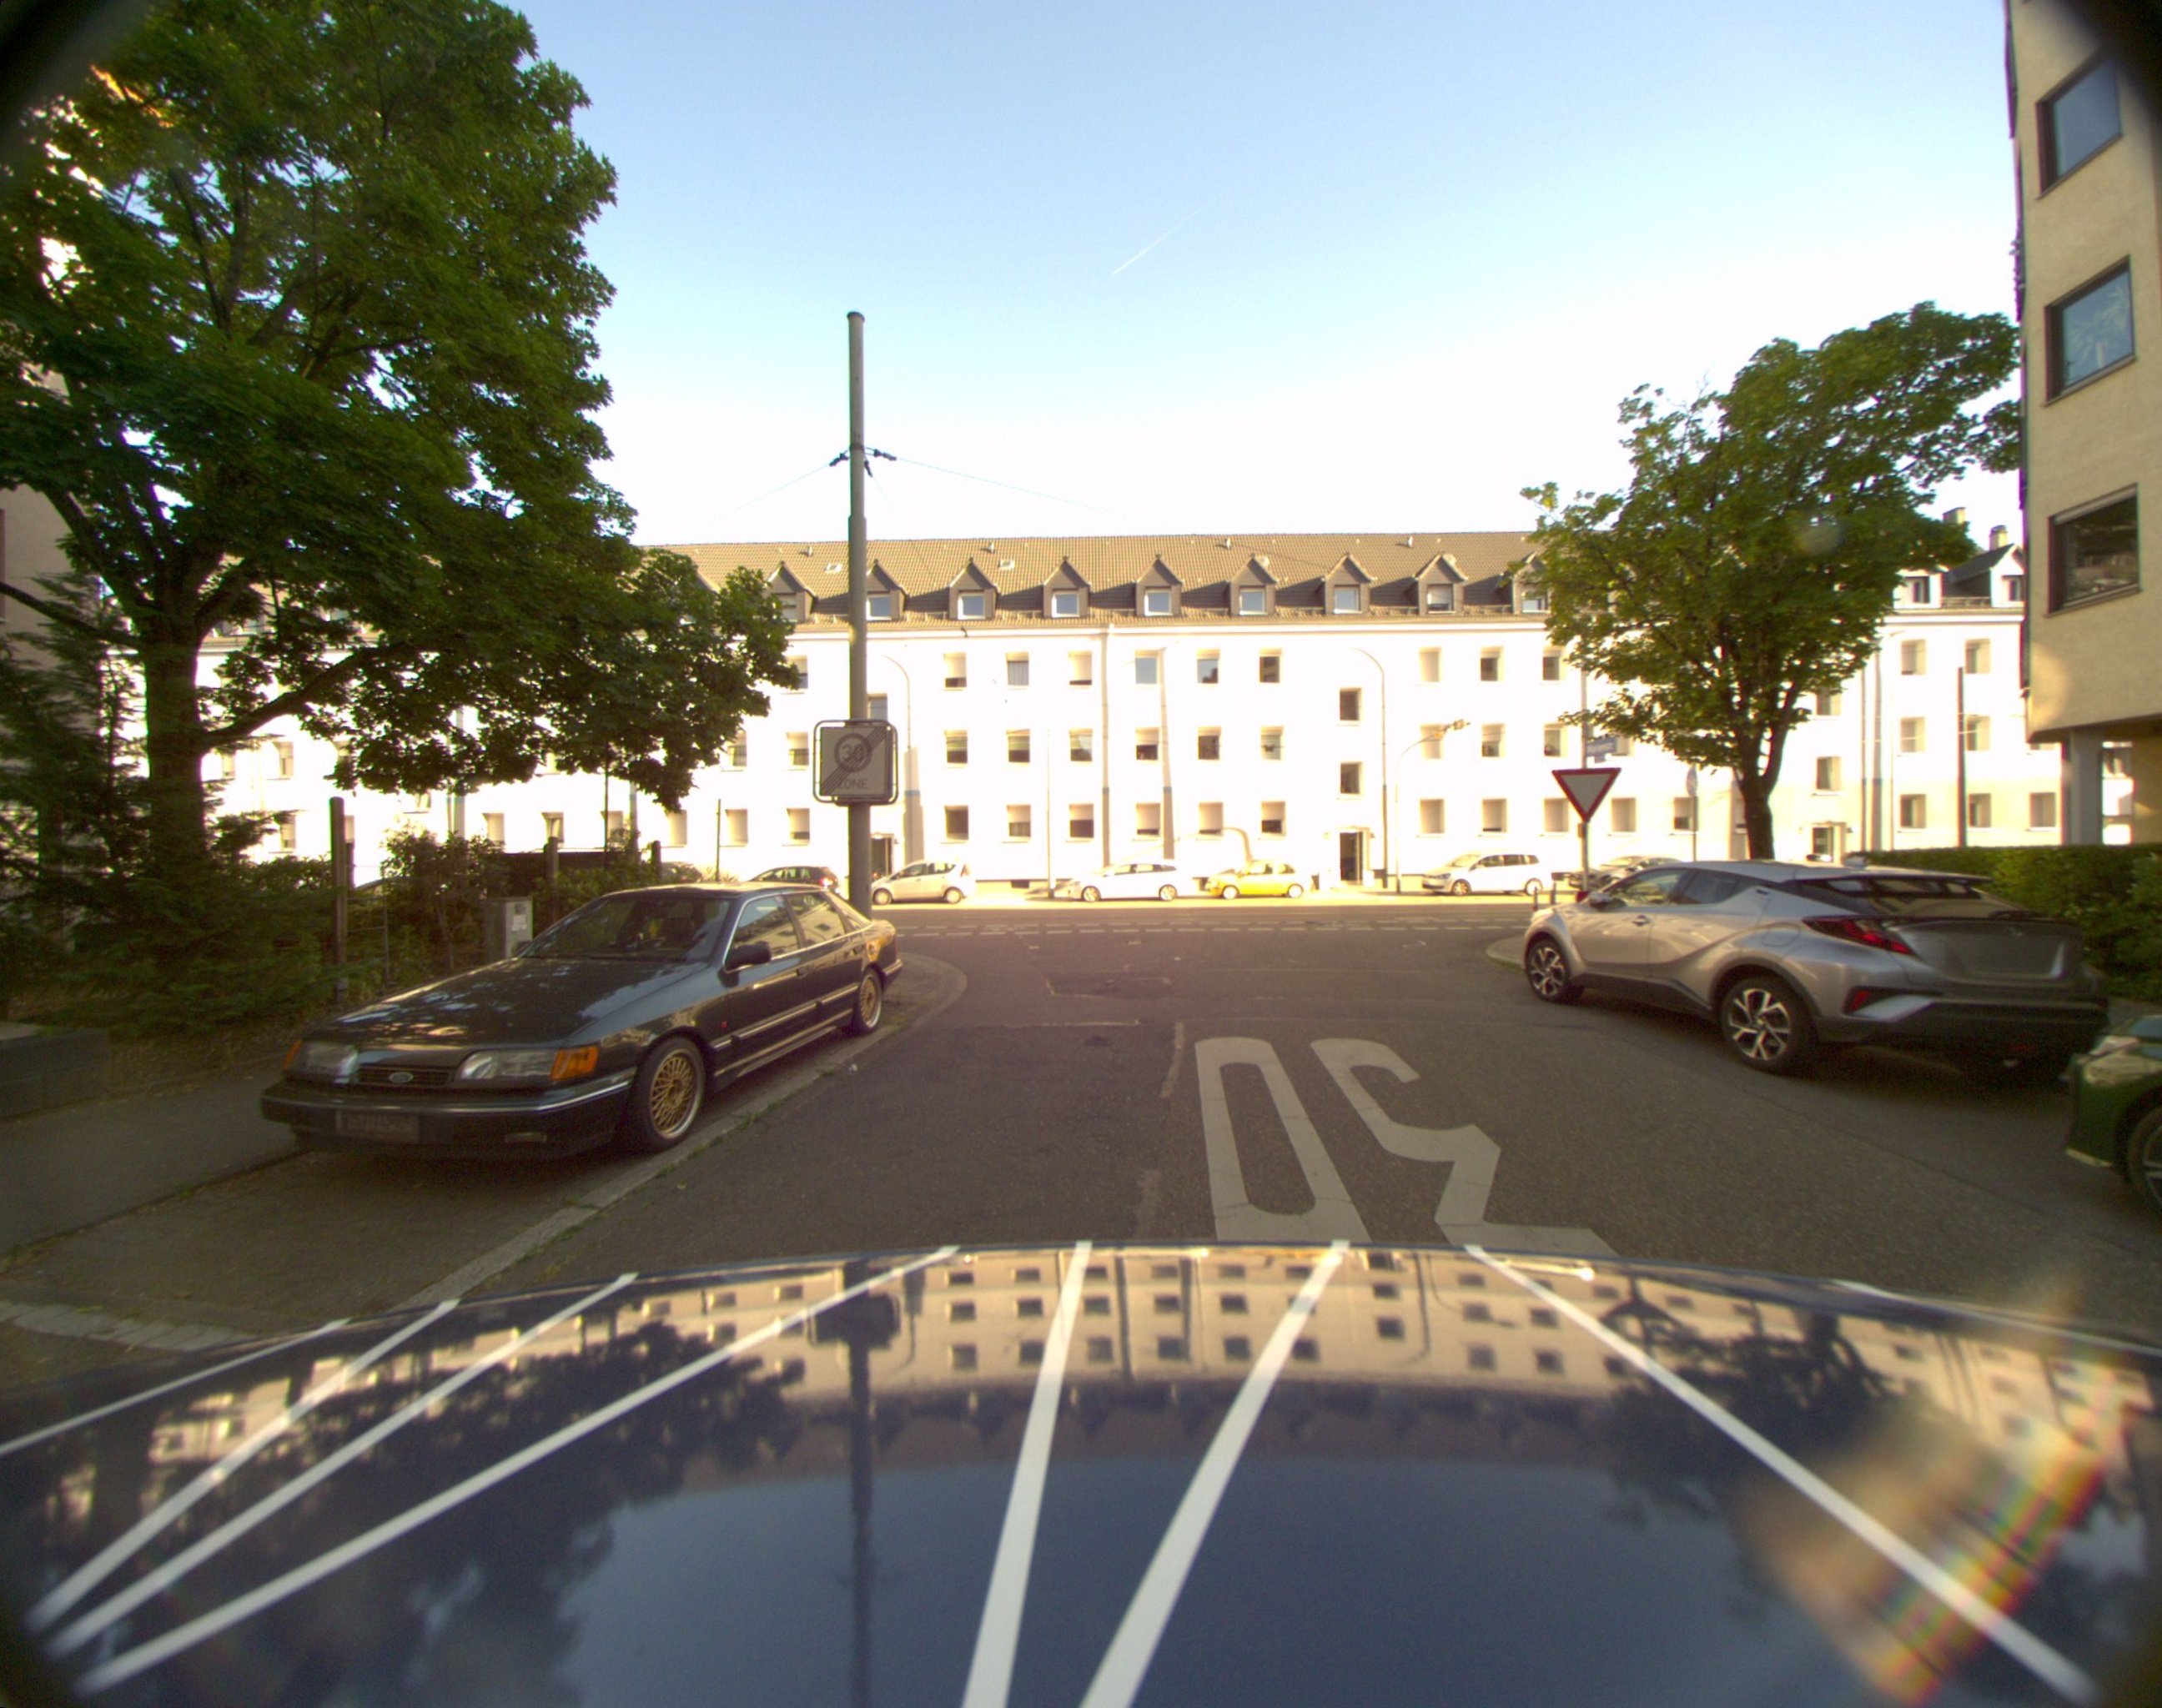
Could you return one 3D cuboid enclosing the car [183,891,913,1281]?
[{"bbox_3d":[-2.863,1.092,5.566,1.711,1.380,4.572,0,1,8],"label":"car"}]

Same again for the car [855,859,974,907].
[{"bbox_3d":[-6.058,1.048,27.938,3.900,1.563,1.759,-1,4,2],"label":"car"}]

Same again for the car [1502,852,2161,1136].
[{"bbox_3d":[5.701,0.837,6.564,1.908,1.650,4.000,1,1,1],"label":"car"}]

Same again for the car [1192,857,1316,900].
[{"bbox_3d":[6.315,0.874,27.980,4.198,1.422,1.518,-1,1,0],"label":"car"}]

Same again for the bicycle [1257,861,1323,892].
[{"bbox_3d":[8.318,0.883,30.280,2.325,1.190,1.099,-1,1,-1],"label":"bicycle"}]

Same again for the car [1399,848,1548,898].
[{"bbox_3d":[14.483,0.668,28.177,4.623,1.657,1.759,-1,4,-2],"label":"car"}]

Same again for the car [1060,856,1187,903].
[{"bbox_3d":[1.513,0.914,27.873,4.506,1.562,1.684,-1,2,0],"label":"car"}]

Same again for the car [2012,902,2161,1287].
[{"bbox_3d":[4.984,0.999,1.371,1.756,1.488,4.137,1,1,7],"label":"car"}]
